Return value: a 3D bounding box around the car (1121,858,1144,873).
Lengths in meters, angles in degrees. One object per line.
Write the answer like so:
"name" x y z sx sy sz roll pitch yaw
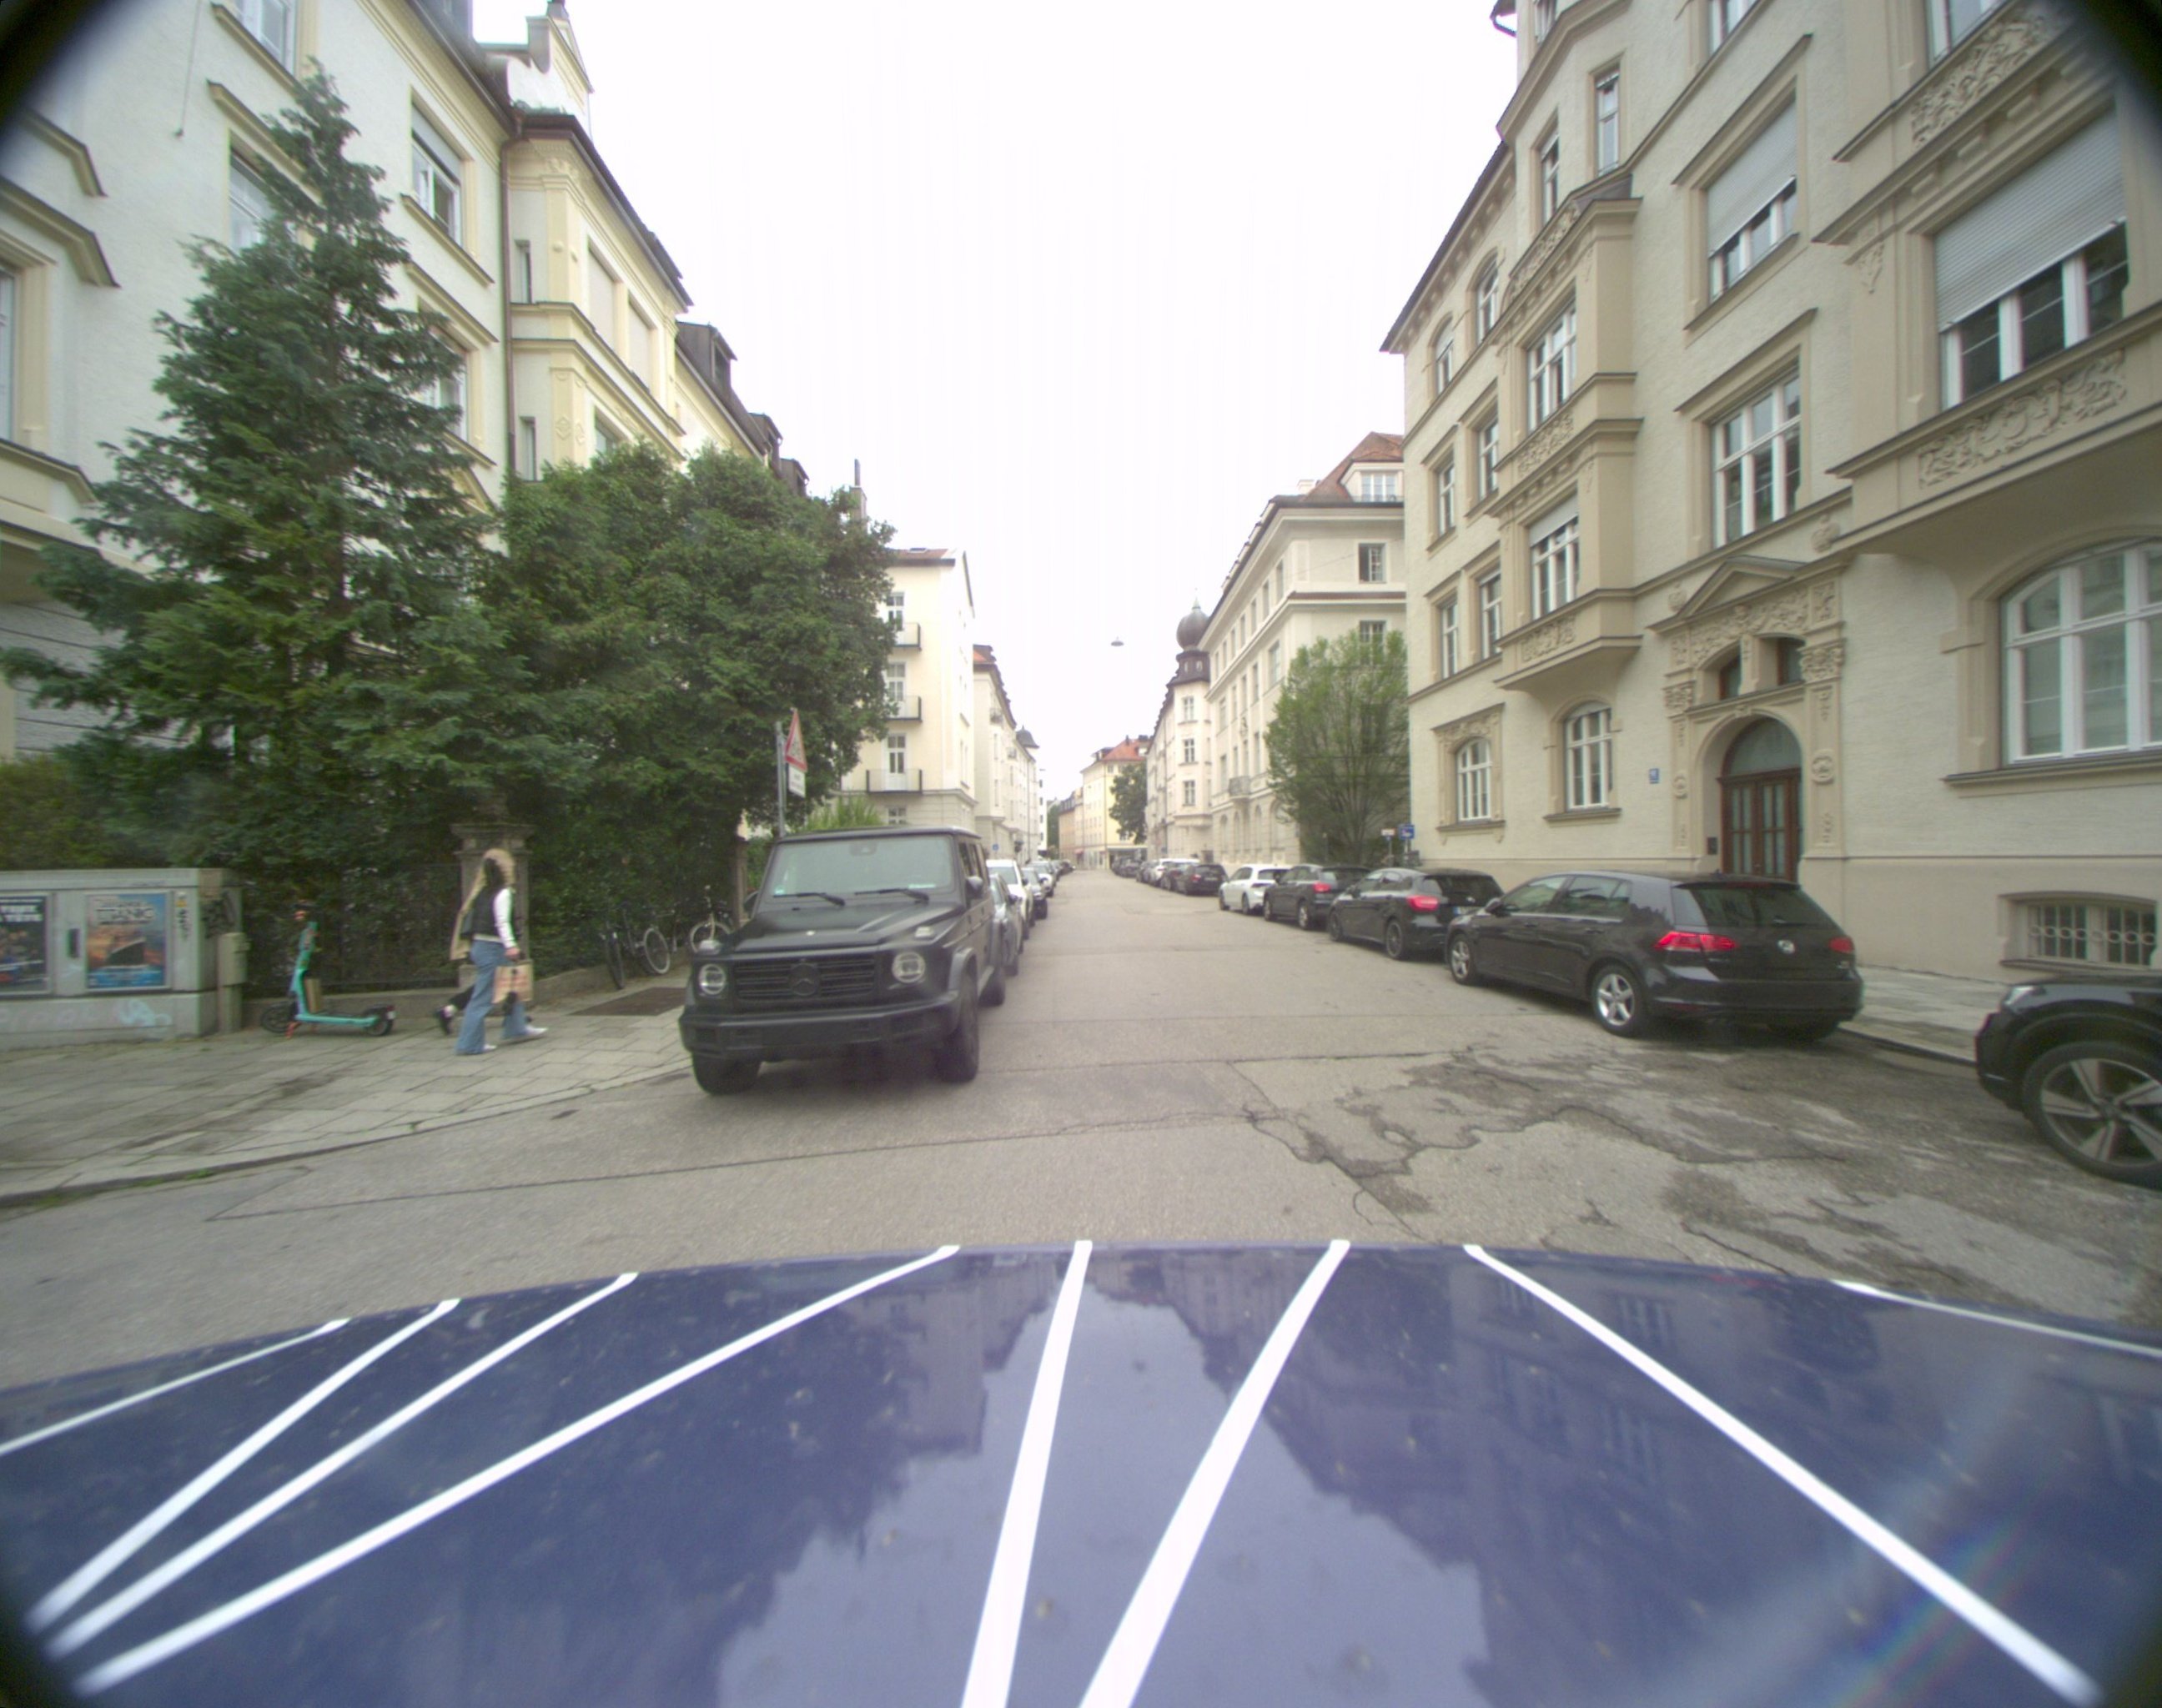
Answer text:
"car" 4.743 1.037 70.512 1.841 1.386 4.245 1 0 0

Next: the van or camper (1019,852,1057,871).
"van or camper" -6.776 1.224 119.675 5.870 2.697 2.304 -1 -3 -7

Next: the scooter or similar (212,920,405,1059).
"scooter or similar" -6.906 1.199 6.817 1.350 1.183 0.371 0 1 2

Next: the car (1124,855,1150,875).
"car" 4.726 0.929 64.380 1.731 1.609 4.120 1 0 -2

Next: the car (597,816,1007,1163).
"car" -1.854 0.830 6.788 1.956 1.942 4.666 -3 -1 -1

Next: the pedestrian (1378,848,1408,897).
"pedestrian" 10.435 0.614 25.427 0.675 1.616 0.631 -1 0 -4

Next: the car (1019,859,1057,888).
"car" -2.522 1.111 45.217 1.826 1.560 4.401 -4 0 1

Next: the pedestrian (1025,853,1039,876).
"pedestrian" -3.813 0.832 59.485 0.885 1.776 1.112 -1 0 7

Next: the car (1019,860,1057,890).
"car" -2.194 1.054 39.357 1.759 1.398 3.451 -2 0 -1

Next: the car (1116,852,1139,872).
"car" 4.619 0.771 75.827 1.841 1.883 4.763 1 0 -1

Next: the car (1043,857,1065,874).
"car" -2.528 1.073 69.753 1.841 1.391 4.972 -3 0 -4

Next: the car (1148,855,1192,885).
"car" 5.026 0.880 43.237 1.920 1.609 4.571 -1 0 0

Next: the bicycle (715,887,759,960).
"bicycle" -5.687 1.120 12.616 0.515 1.088 1.352 -1 0 -19

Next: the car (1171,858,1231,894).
"car" 5.148 0.910 33.076 1.792 1.404 4.367 -1 0 -1

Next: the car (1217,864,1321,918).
"car" 5.415 1.016 22.431 1.841 1.425 4.244 1 0 -2

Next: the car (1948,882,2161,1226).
"car" 5.677 0.914 2.178 1.758 1.491 4.018 1 0 0

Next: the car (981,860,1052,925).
"car" -1.822 1.029 21.929 1.755 1.601 4.422 -3 0 -4

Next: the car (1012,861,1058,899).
"car" -2.001 1.113 33.934 1.789 1.495 4.064 -2 0 -1

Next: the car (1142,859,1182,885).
"car" 5.097 1.133 48.452 1.788 1.532 4.255 1 0 -4

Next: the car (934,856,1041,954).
"car" -1.920 0.989 16.878 1.727 1.759 4.412 -4 1 0

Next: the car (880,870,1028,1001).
"car" -1.779 1.095 11.721 1.727 1.510 3.629 -4 1 -3

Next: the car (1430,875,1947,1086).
"car" 5.483 1.002 7.758 1.841 1.427 4.244 2 0 0

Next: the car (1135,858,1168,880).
"car" 4.902 1.018 53.143 1.797 1.407 4.278 1 0 -1

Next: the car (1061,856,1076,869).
"car" -1.656 1.115 103.451 1.841 1.609 4.095 -4 0 1

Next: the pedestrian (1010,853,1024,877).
"pedestrian" -4.847 0.827 58.037 0.885 1.801 1.111 -1 0 4

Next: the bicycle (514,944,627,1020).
"bicycle" -5.789 1.432 8.676 0.514 0.679 1.123 -1 0 0

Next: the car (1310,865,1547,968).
"car" 5.593 0.915 12.998 1.838 1.425 4.553 1 0 -2

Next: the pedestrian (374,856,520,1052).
"pedestrian" -5.805 0.875 6.996 0.736 1.693 0.696 1 1 2

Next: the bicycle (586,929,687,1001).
"bicycle" -5.776 1.423 9.955 0.514 0.730 1.354 -1 0 0

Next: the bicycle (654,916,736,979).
"bicycle" -5.748 1.372 11.395 0.514 0.777 1.354 -1 0 0

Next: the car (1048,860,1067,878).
"car" -2.450 1.501 78.675 1.805 1.665 4.188 -4 0 -1

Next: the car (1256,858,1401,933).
"car" 5.641 0.883 17.957 1.775 1.509 4.384 2 -1 -3

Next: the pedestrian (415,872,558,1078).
"pedestrian" -4.987 0.971 6.422 0.708 1.619 0.688 0 1 -9

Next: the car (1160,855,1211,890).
"car" 5.142 0.878 37.822 1.841 1.609 4.244 -1 0 -1
